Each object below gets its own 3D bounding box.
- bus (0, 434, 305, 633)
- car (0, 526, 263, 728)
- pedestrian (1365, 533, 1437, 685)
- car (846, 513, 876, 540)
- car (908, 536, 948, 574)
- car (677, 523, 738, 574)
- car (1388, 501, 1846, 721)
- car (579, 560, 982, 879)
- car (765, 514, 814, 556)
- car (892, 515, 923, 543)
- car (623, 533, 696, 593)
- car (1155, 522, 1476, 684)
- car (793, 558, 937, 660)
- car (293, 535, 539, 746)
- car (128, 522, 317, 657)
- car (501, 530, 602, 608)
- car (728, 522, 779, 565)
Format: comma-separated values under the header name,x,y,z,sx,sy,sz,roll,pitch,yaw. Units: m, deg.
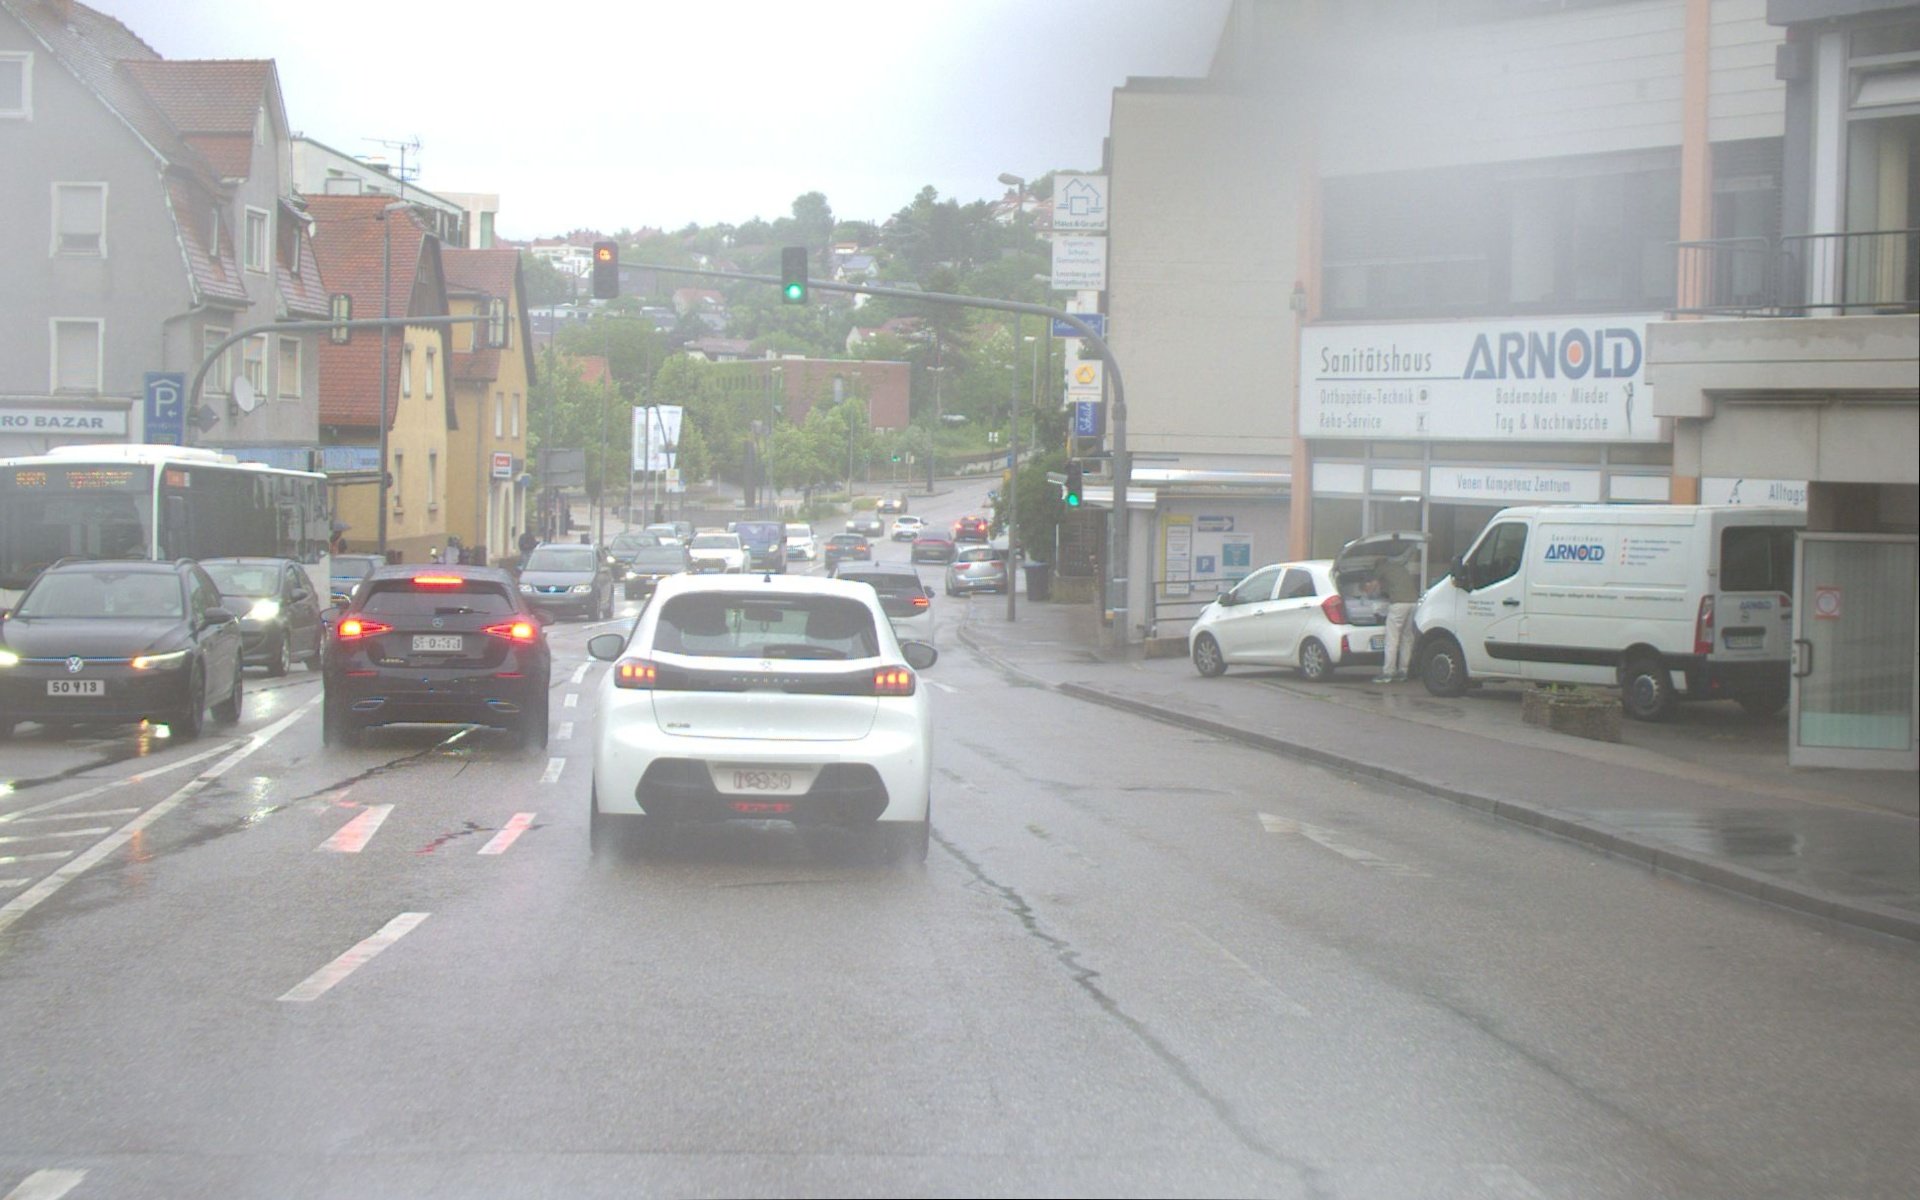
name,x,y,z,sx,sy,sz,roll,pitch,yaw
bus,-12.530,-1.101,52.763,2.938,2.773,9.505,0,2,1
car,-7.245,0.175,29.306,1.892,1.549,4.001,0,2,-2
pedestrian,5.369,0.101,41.835,0.640,1.816,0.583,-1,2,-32
car,-5.898,-4.420,205.211,1.746,1.549,4.001,0,2,-1
car,-1.422,-1.989,151.631,1.746,1.549,4.001,0,2,-1
car,-8.202,-1.686,111.872,1.746,1.549,4.001,0,2,-1
car,7.198,0.040,38.185,1.994,2.219,4.976,-1,3,-35
car,-0.916,0.557,18.417,1.871,1.457,3.873,2,0,-2
car,-7.433,-2.839,150.212,1.786,1.678,4.000,2,2,1
car,-3.042,-4.078,197.808,1.746,1.549,4.001,0,2,-1
car,-8.332,-1.046,95.494,1.746,1.549,4.001,0,2,-1
car,4.433,-0.016,43.440,1.885,1.872,4.136,-1,2,-32
car,-1.500,0.112,53.077,1.911,1.395,3.459,1,2,-6
car,-4.436,0.279,28.483,1.815,1.524,3.814,1,2,-6
car,-9.110,-0.172,42.741,1.815,1.549,4.001,0,2,-5
car,-8.696,-0.679,73.365,1.746,1.549,4.001,0,2,-1
car,-7.694,-2.127,128.406,1.746,1.549,4.001,0,2,-1
